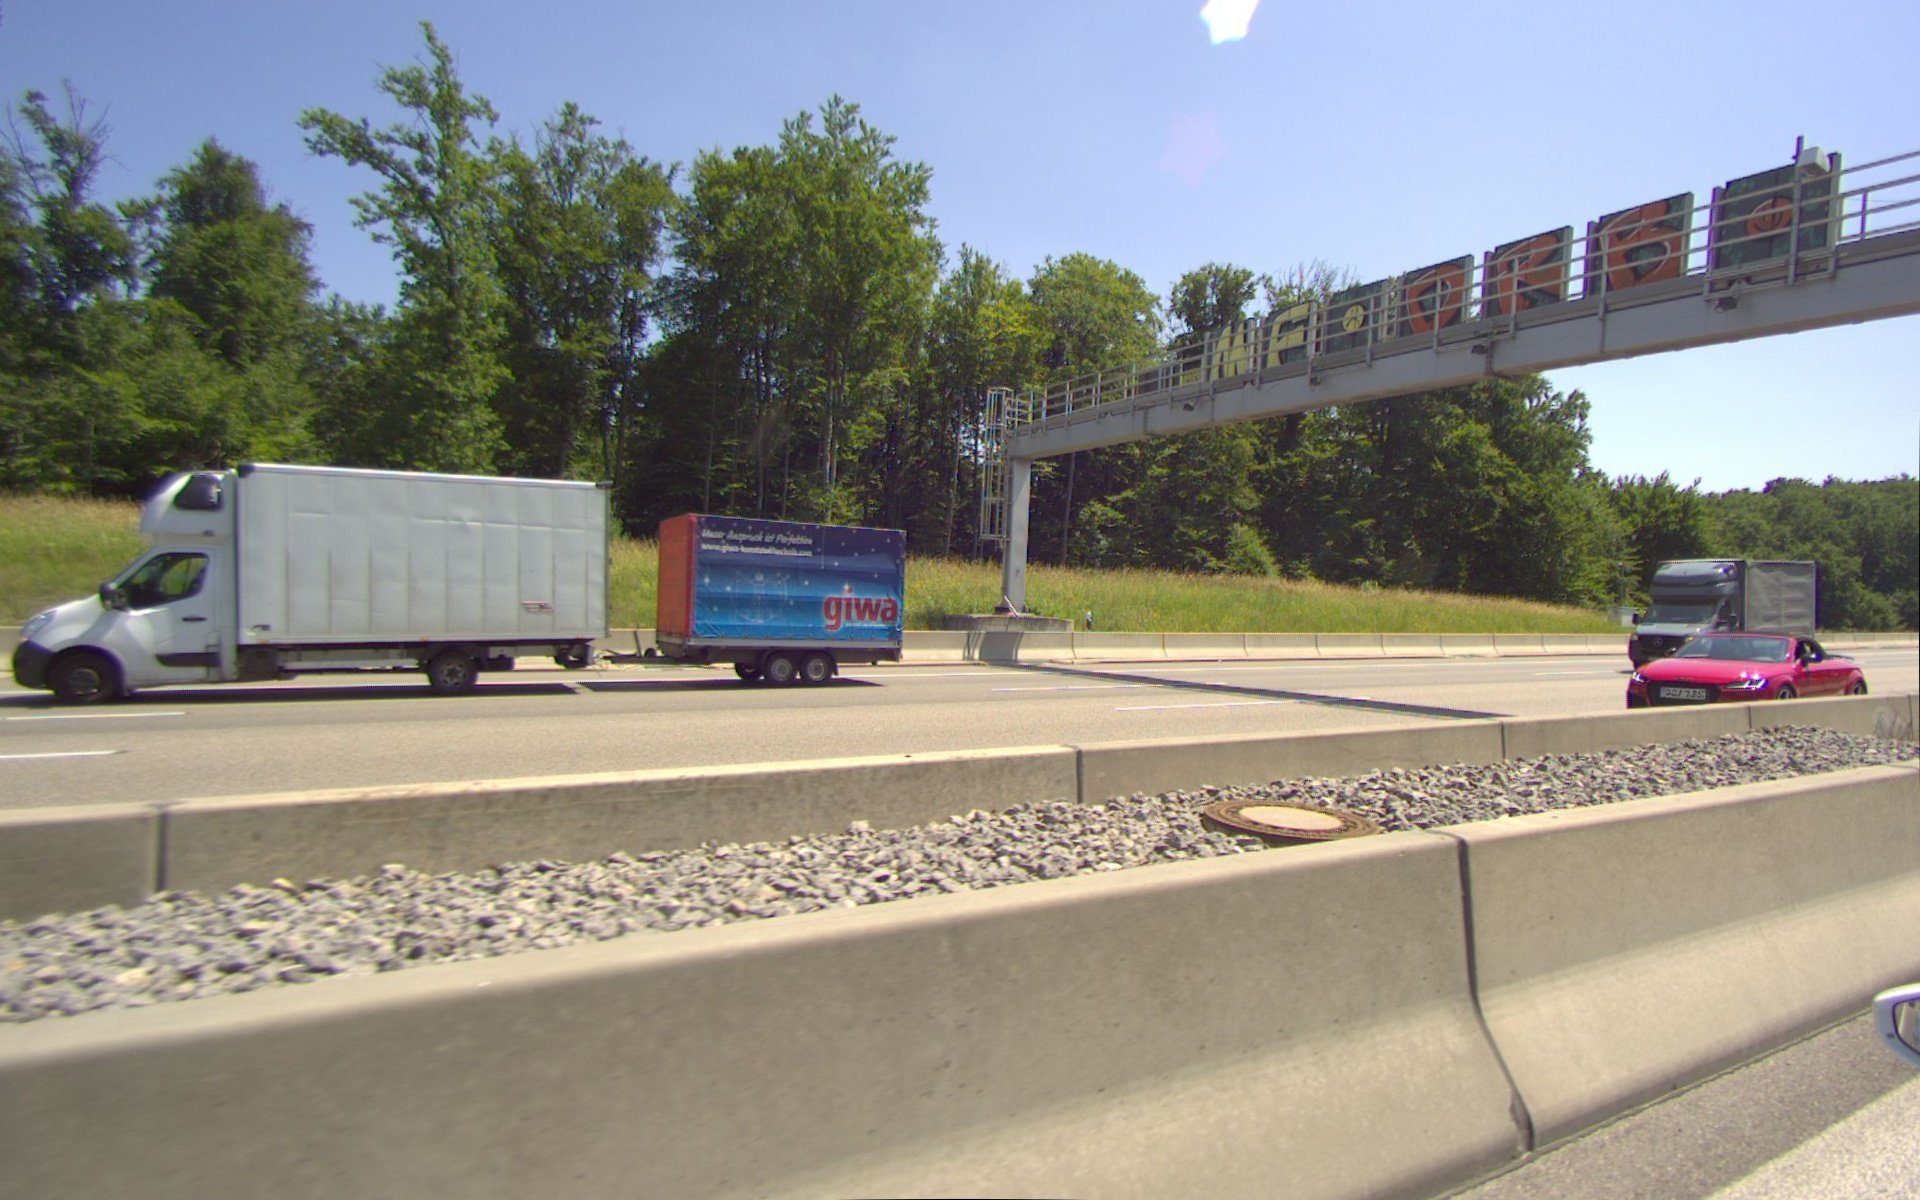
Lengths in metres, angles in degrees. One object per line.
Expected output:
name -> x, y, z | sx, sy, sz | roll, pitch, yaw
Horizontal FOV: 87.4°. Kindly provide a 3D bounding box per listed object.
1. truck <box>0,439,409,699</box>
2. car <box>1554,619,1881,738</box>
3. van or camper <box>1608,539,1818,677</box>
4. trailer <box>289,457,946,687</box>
truck -> -10.552, -0.336, 14.586 | 4.351, 3.209, 2.475 | 2, 0, -31
car -> 11.204, 1.055, 14.764 | 5.160, 1.461, 2.038 | 1, -1, -30
van or camper -> 22.769, 0.292, 30.226 | 7.671, 3.727, 2.417 | 1, -1, -32
trailer -> -5.394, -0.210, 17.640 | 10.358, 3.196, 2.463 | 3, 0, -30
